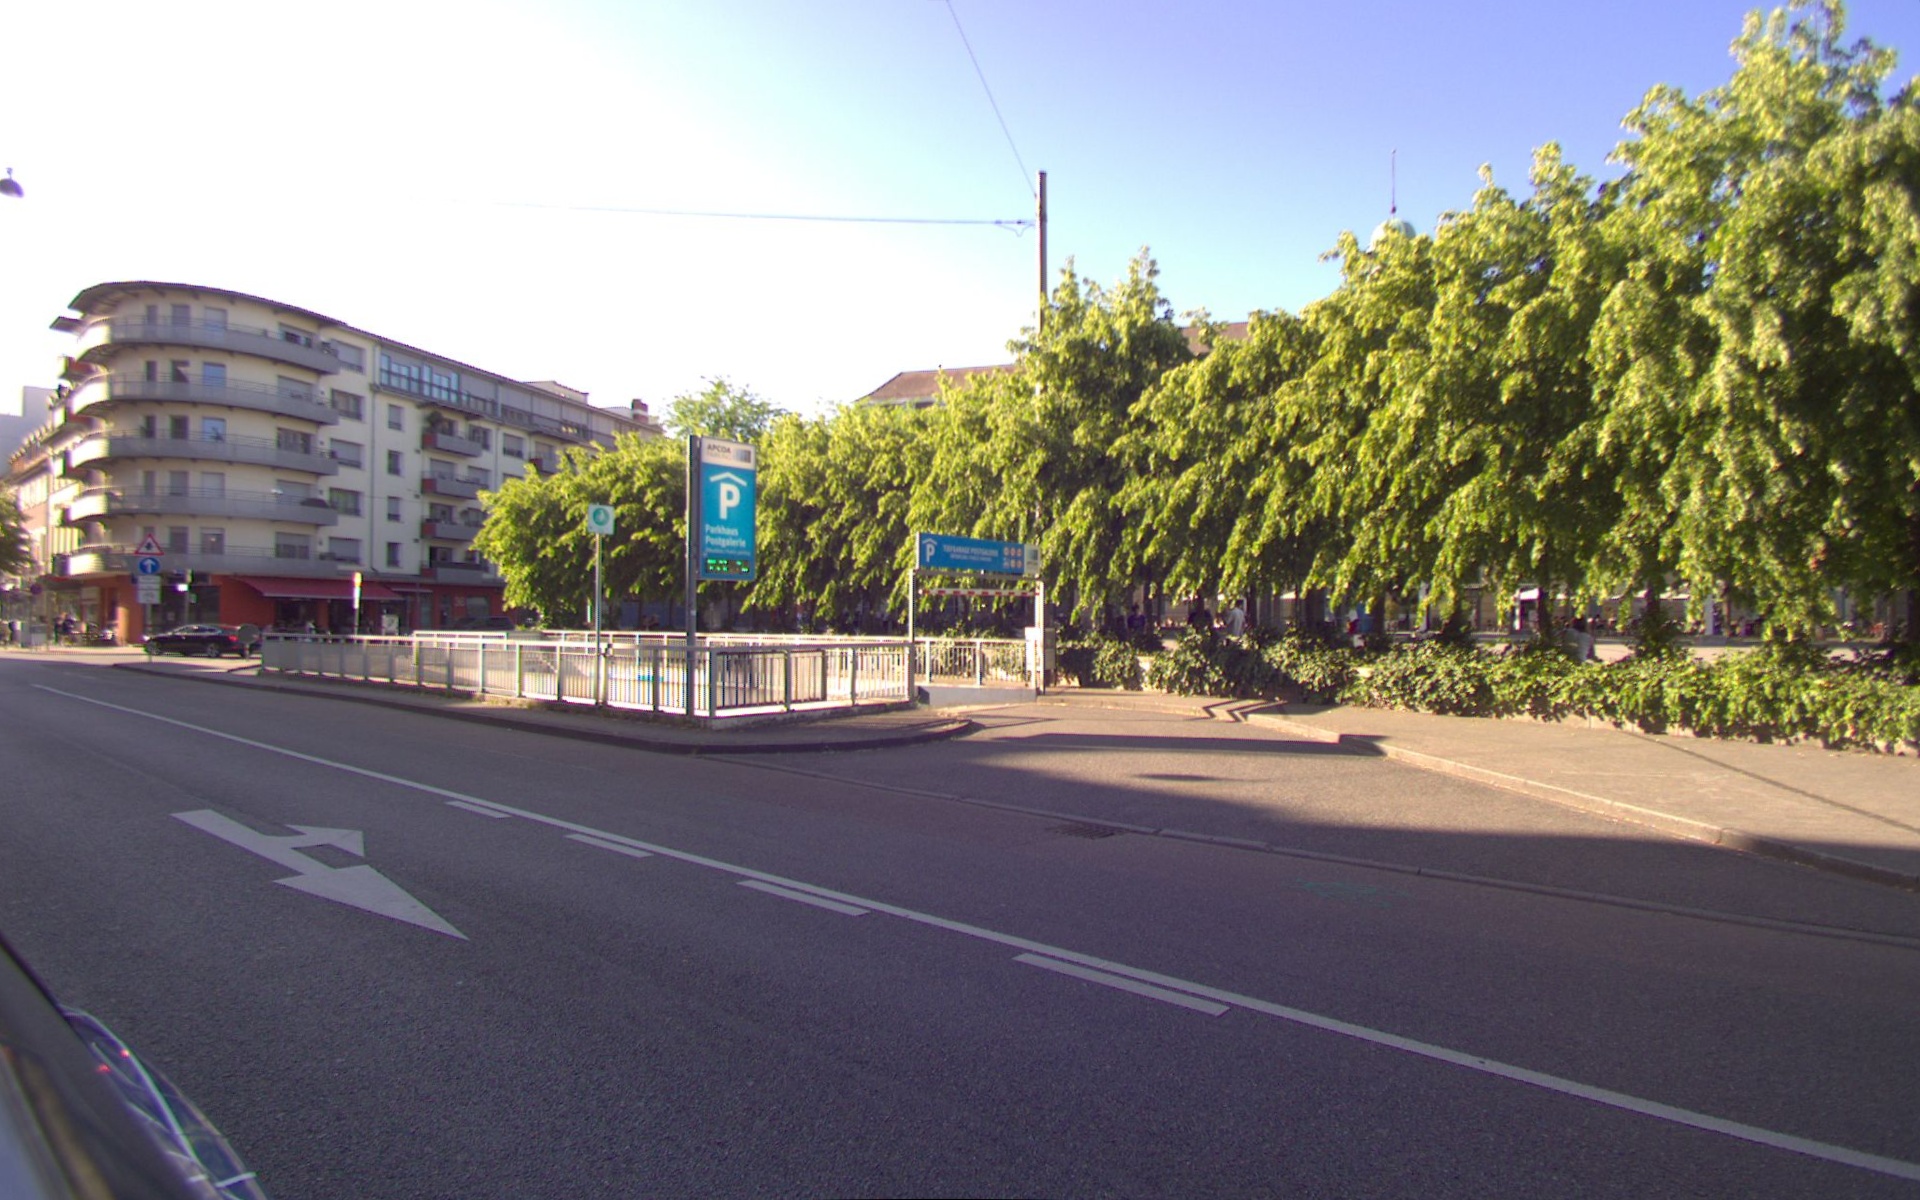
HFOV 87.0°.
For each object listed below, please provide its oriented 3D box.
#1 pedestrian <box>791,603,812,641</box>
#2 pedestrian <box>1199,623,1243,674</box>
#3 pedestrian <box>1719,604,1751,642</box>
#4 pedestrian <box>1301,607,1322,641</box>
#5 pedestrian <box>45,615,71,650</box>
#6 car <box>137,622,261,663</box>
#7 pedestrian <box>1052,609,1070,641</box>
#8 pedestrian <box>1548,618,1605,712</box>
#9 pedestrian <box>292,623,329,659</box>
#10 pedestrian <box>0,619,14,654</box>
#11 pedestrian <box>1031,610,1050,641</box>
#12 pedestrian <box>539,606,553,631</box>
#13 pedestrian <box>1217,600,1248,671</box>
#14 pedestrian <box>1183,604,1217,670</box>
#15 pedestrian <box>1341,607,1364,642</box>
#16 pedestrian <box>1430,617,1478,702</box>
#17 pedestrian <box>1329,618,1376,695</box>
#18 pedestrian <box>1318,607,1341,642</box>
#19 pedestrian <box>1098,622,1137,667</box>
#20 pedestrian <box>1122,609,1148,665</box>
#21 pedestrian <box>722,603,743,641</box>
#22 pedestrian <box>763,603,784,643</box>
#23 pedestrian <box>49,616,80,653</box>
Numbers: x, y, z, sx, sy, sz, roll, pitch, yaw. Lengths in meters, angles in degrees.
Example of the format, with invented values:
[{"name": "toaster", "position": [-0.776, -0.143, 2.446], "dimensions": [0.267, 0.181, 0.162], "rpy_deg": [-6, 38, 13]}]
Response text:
[{"name": "pedestrian", "position": [-7.811, 1.099, 49.902], "dimensions": [0.681, 1.857, 0.741], "rpy_deg": [-1, 0, 27]}, {"name": "pedestrian", "position": [5.755, 1.063, 22.352], "dimensions": [0.682, 1.079, 0.686], "rpy_deg": [-1, 0, -13]}, {"name": "pedestrian", "position": [31.383, 0.924, 40.979], "dimensions": [0.729, 1.542, 0.695], "rpy_deg": [-1, 0, -7]}, {"name": "pedestrian", "position": [16.201, 1.115, 46.640], "dimensions": [0.673, 1.535, 0.695], "rpy_deg": [-1, 0, -7]}, {"name": "pedestrian", "position": [-50.765, 1.834, 56.949], "dimensions": [0.790, 1.934, 0.978], "rpy_deg": [-1, 0, 37]}, {"name": "car", "position": [-32.224, 1.779, 42.899], "dimensions": [4.200, 1.542, 1.673], "rpy_deg": [2, -2, 8]}, {"name": "pedestrian", "position": [4.466, 1.111, 44.830], "dimensions": [0.684, 1.385, 0.684], "rpy_deg": [-1, 0, 1]}, {"name": "pedestrian", "position": [9.797, 1.016, 16.102], "dimensions": [0.611, 1.447, 0.588], "rpy_deg": [-1, 0, 14]}, {"name": "pedestrian", "position": [-32.306, 2.024, 50.325], "dimensions": [1.251, 1.678, 1.143], "rpy_deg": [-1, 0, -15]}, {"name": "pedestrian", "position": [-48.814, 1.850, 51.434], "dimensions": [1.081, 1.732, 1.054], "rpy_deg": [-1, 0, 45]}, {"name": "pedestrian", "position": [3.571, 1.123, 44.867], "dimensions": [0.752, 1.385, 0.684], "rpy_deg": [-1, 0, 1]}, {"name": "pedestrian", "position": [-31.048, 1.401, 75.836], "dimensions": [0.684, 1.857, 0.737], "rpy_deg": [-1, 0, 41]}, {"name": "pedestrian", "position": [6.231, 0.808, 23.149], "dimensions": [0.519, 1.594, 0.684], "rpy_deg": [-1, 0, 2]}, {"name": "pedestrian", "position": [5.662, 0.857, 23.855], "dimensions": [0.688, 1.511, 0.680], "rpy_deg": [-1, 0, 19]}, {"name": "pedestrian", "position": [17.607, 1.097, 45.420], "dimensions": [0.672, 1.536, 0.696], "rpy_deg": [-1, 0, -19]}, {"name": "pedestrian", "position": [8.741, 1.029, 17.911], "dimensions": [0.621, 1.447, 0.645], "rpy_deg": [-1, 0, 39]}, {"name": "pedestrian", "position": [7.514, 1.064, 19.358], "dimensions": [0.622, 1.409, 0.644], "rpy_deg": [-1, 0, 44]}, {"name": "pedestrian", "position": [16.731, 1.109, 45.861], "dimensions": [0.672, 1.542, 0.696], "rpy_deg": [-1, 0, -18]}, {"name": "pedestrian", "position": [3.903, 1.096, 25.112], "dimensions": [0.682, 1.079, 0.686], "rpy_deg": [-1, 0, -29]}, {"name": "pedestrian", "position": [4.471, 0.935, 25.875], "dimensions": [0.545, 1.385, 0.680], "rpy_deg": [-1, 0, 19]}, {"name": "pedestrian", "position": [-11.338, 1.089, 50.461], "dimensions": [0.679, 1.857, 0.743], "rpy_deg": [-1, 0, 19]}, {"name": "pedestrian", "position": [-9.033, 1.106, 48.925], "dimensions": [0.681, 1.877, 0.741], "rpy_deg": [-1, 0, 27]}, {"name": "pedestrian", "position": [-44.933, 1.716, 50.772], "dimensions": [0.962, 1.762, 1.047], "rpy_deg": [-1, 0, 41]}]
